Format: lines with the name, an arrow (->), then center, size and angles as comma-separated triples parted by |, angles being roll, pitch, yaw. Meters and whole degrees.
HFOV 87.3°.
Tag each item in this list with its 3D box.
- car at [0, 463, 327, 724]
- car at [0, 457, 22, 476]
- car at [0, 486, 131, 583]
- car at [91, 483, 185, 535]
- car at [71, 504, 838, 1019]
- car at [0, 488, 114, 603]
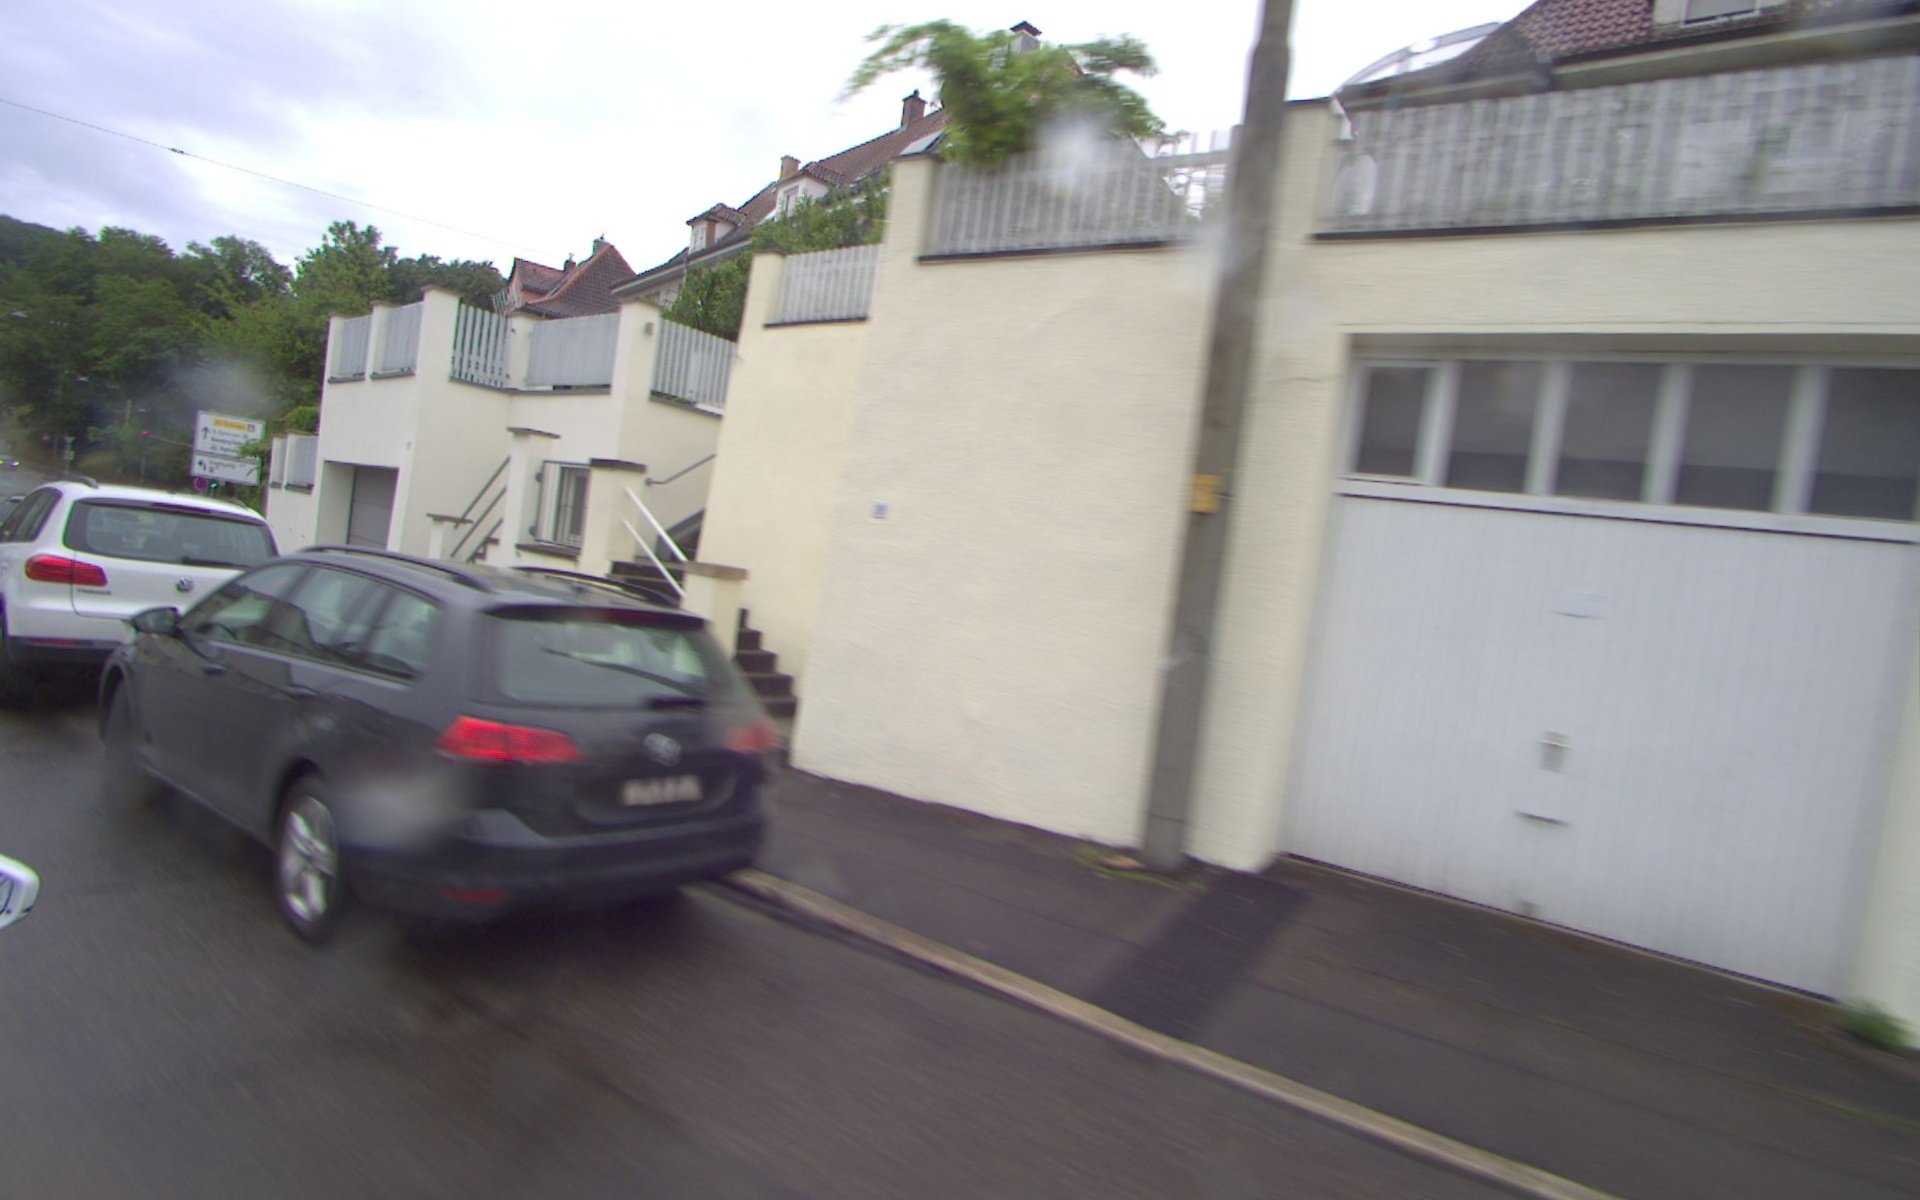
car -> -7.114, -0.138, 8.464 | 4.151, 1.669, 1.801 | 7, -1, 41
car -> -95.902, -13.463, 100.973 | 3.936, 1.571, 1.740 | 8, 4, 34
car -> -17.866, -1.327, 20.029 | 1.781, 1.513, 4.657 | 8, -1, -38
car -> -37.722, -4.143, 46.323 | 2.288, 1.964, 4.295 | 7, 1, -27
car -> -2.771, 0.474, 5.083 | 4.137, 1.501, 1.679 | 6, -1, 37
car -> -14.595, -0.939, 15.950 | 1.635, 1.454, 4.126 | 8, 0, -40
